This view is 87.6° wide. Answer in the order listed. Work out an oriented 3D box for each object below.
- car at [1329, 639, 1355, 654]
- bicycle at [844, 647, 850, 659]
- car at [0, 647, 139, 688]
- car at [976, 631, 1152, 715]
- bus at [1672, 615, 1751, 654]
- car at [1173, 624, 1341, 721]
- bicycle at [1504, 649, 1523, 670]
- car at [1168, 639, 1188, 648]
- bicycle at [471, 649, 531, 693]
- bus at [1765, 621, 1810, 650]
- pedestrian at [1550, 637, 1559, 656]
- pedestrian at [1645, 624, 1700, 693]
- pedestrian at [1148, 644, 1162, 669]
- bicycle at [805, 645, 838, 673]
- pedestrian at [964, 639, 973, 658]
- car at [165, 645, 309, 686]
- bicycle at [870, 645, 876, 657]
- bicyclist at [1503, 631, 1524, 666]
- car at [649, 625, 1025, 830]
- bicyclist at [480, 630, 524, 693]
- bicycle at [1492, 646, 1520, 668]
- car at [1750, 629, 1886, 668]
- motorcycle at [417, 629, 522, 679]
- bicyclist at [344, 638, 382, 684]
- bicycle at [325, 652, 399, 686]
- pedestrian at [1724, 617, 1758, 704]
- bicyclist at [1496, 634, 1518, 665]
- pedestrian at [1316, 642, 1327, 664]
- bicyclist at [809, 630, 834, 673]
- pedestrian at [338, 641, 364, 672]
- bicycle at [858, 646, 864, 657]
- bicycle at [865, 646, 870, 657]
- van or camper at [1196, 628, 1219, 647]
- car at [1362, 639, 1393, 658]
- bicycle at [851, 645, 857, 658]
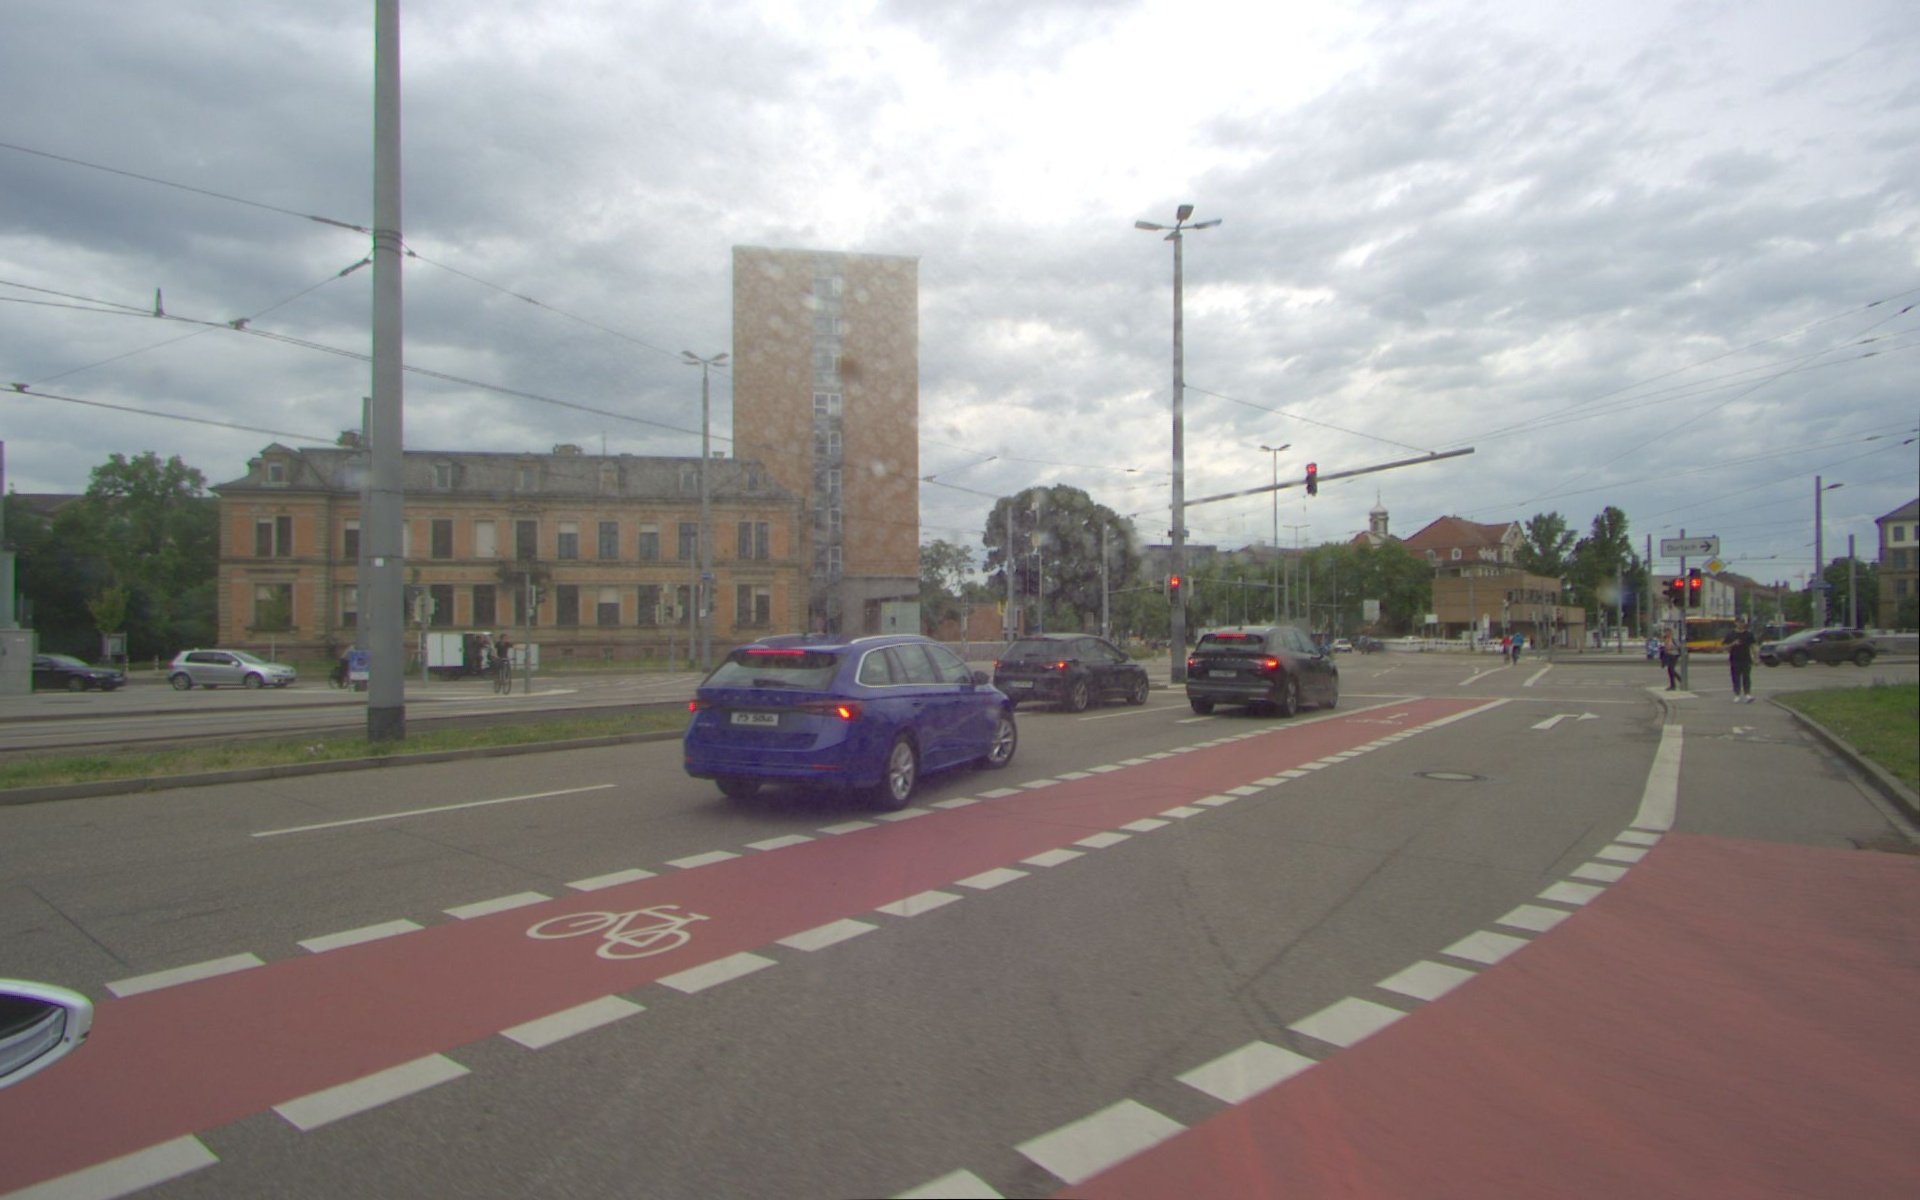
[{"bbox_3d":[40.353,4.883,105.819,1.747,1.483,4.000,0,-2,9],"label":"car"},{"bbox_3d":[-10.586,4.948,93.675,0.561,1.120,1.428,0,-2,-7],"label":"bicycle"},{"bbox_3d":[-33.203,2.492,37.177,4.062,1.467,1.698,0,-2,0],"label":"car"},{"bbox_3d":[2.117,1.356,19.541,1.689,1.467,3.786,-1,-2,38],"label":"car"},{"bbox_3d":[64.891,2.961,86.333,11.412,3.163,2.946,2,-3,-40],"label":"bus"},{"bbox_3d":[5.743,1.290,18.980,1.759,1.617,4.484,-1,-2,34],"label":"car"},{"bbox_3d":[30.255,3.237,54.706,0.856,1.118,2.291,-1,-2,31],"label":"bicycle"},{"bbox_3d":[36.780,7.315,169.054,1.749,1.482,3.998,0,-2,-12],"label":"car"},{"bbox_3d":[-13.737,2.127,29.955,1.976,1.258,0.810,-4,-2,38],"label":"bicycle"},{"bbox_3d":[96.277,4.139,116.476,10.886,3.324,2.638,2,-3,-43],"label":"bus"},{"bbox_3d":[60.909,4.720,102.565,0.616,1.942,0.705,-1,-2,39],"label":"pedestrian"},{"bbox_3d":[20.454,1.676,28.759,1.083,1.931,0.736,1,-1,-6],"label":"pedestrian"},{"bbox_3d":[15.278,4.408,78.441,1.011,1.958,0.701,-1,-1,11],"label":"pedestrian"},{"bbox_3d":[-6.319,2.667,45.820,0.811,1.223,2.234,-1,-2,10],"label":"bicycle"},{"bbox_3d":[0.632,3.490,72.608,0.563,1.353,0.498,0,-1,-14],"label":"pedestrian"},{"bbox_3d":[-27.247,2.443,37.844,4.080,1.472,1.762,0,-2,-4],"label":"car"},{"bbox_3d":[-8.190,4.798,94.062,0.473,1.062,1.428,0,-2,-7],"label":"bicycle"},{"bbox_3d":[30.219,2.622,54.660,0.862,1.874,1.043,-3,-3,31],"label":"bicyclist"},{"bbox_3d":[-0.865,1.049,9.764,1.755,1.507,4.458,-1,-3,21],"label":"car"},{"bbox_3d":[-13.669,1.815,29.901,1.017,1.822,0.810,-2,-1,38],"label":"bicyclist"},{"bbox_3d":[31.170,3.232,57.185,0.878,1.193,2.301,0,-2,14],"label":"bicycle"},{"bbox_3d":[37.440,2.095,43.790,4.148,1.660,1.804,0,-2,8],"label":"car"},{"bbox_3d":[-20.753,2.277,42.483,3.616,2.039,1.696,0,-2,-6],"label":"motorcycle"},{"bbox_3d":[-21.758,2.204,36.506,0.900,1.643,0.856,0,-2,-4],"label":"bicyclist"},{"bbox_3d":[-21.762,2.504,36.493,2.155,1.223,0.858,0,-2,-4],"label":"bicycle"},{"bbox_3d":[17.147,1.323,21.980,0.531,1.867,0.979,-1,-2,40],"label":"pedestrian"},{"bbox_3d":[31.094,2.804,56.920,0.869,1.754,0.894,0,-1,14],"label":"bicyclist"},{"bbox_3d":[25.427,3.705,70.445,0.717,1.561,0.416,-1,-1,24],"label":"pedestrian"},{"bbox_3d":[-6.335,2.353,45.821,0.816,1.915,1.049,-2,-2,10],"label":"bicyclist"},{"bbox_3d":[-34.647,3.207,56.984,1.107,1.785,0.757,0,-2,-17],"label":"pedestrian"},{"bbox_3d":[-9.282,4.827,93.873,0.500,1.062,1.428,0,-2,-7],"label":"bicycle"},{"bbox_3d":[-8.707,4.810,94.001,0.473,1.062,1.428,0,-2,-7],"label":"bicycle"},{"bbox_3d":[42.693,6.516,172.891,2.349,3.163,5.506,0,-2,-2],"label":"van or camper"},{"bbox_3d":[37.044,4.325,89.001,1.963,1.704,4.000,0,-3,14],"label":"car"},{"bbox_3d":[-9.932,4.822,93.793,0.561,1.120,1.428,0,-2,-7],"label":"bicycle"}]
